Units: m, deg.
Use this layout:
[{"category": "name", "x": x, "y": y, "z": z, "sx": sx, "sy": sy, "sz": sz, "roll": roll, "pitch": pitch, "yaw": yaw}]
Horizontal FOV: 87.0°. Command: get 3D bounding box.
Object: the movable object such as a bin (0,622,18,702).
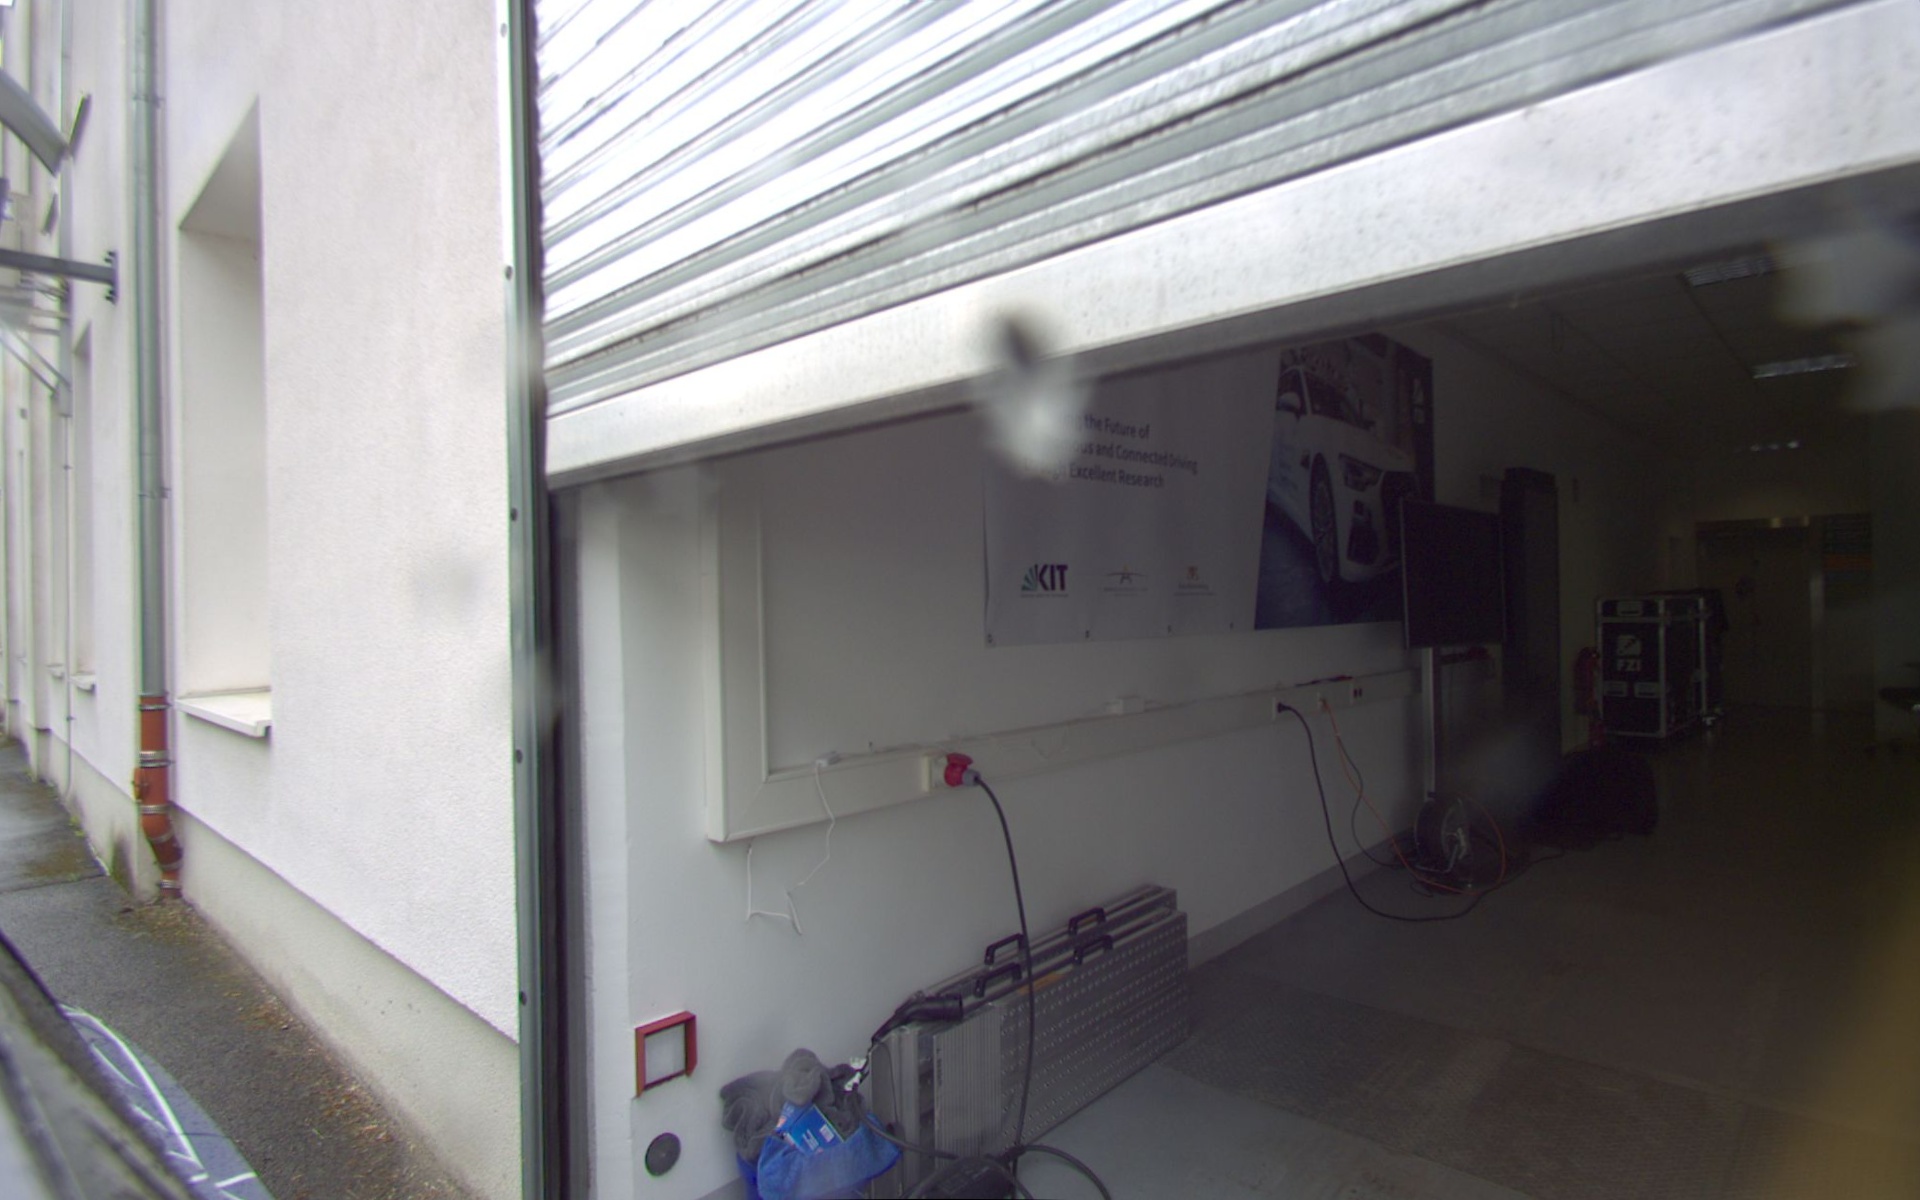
[{"category": "movable object such as a bin", "x": -18.616, "y": 1.153, "z": 18.977, "sx": 1.593, "sy": 1.494, "sz": 1.153, "roll": -1, "pitch": -2, "yaw": 39}]
